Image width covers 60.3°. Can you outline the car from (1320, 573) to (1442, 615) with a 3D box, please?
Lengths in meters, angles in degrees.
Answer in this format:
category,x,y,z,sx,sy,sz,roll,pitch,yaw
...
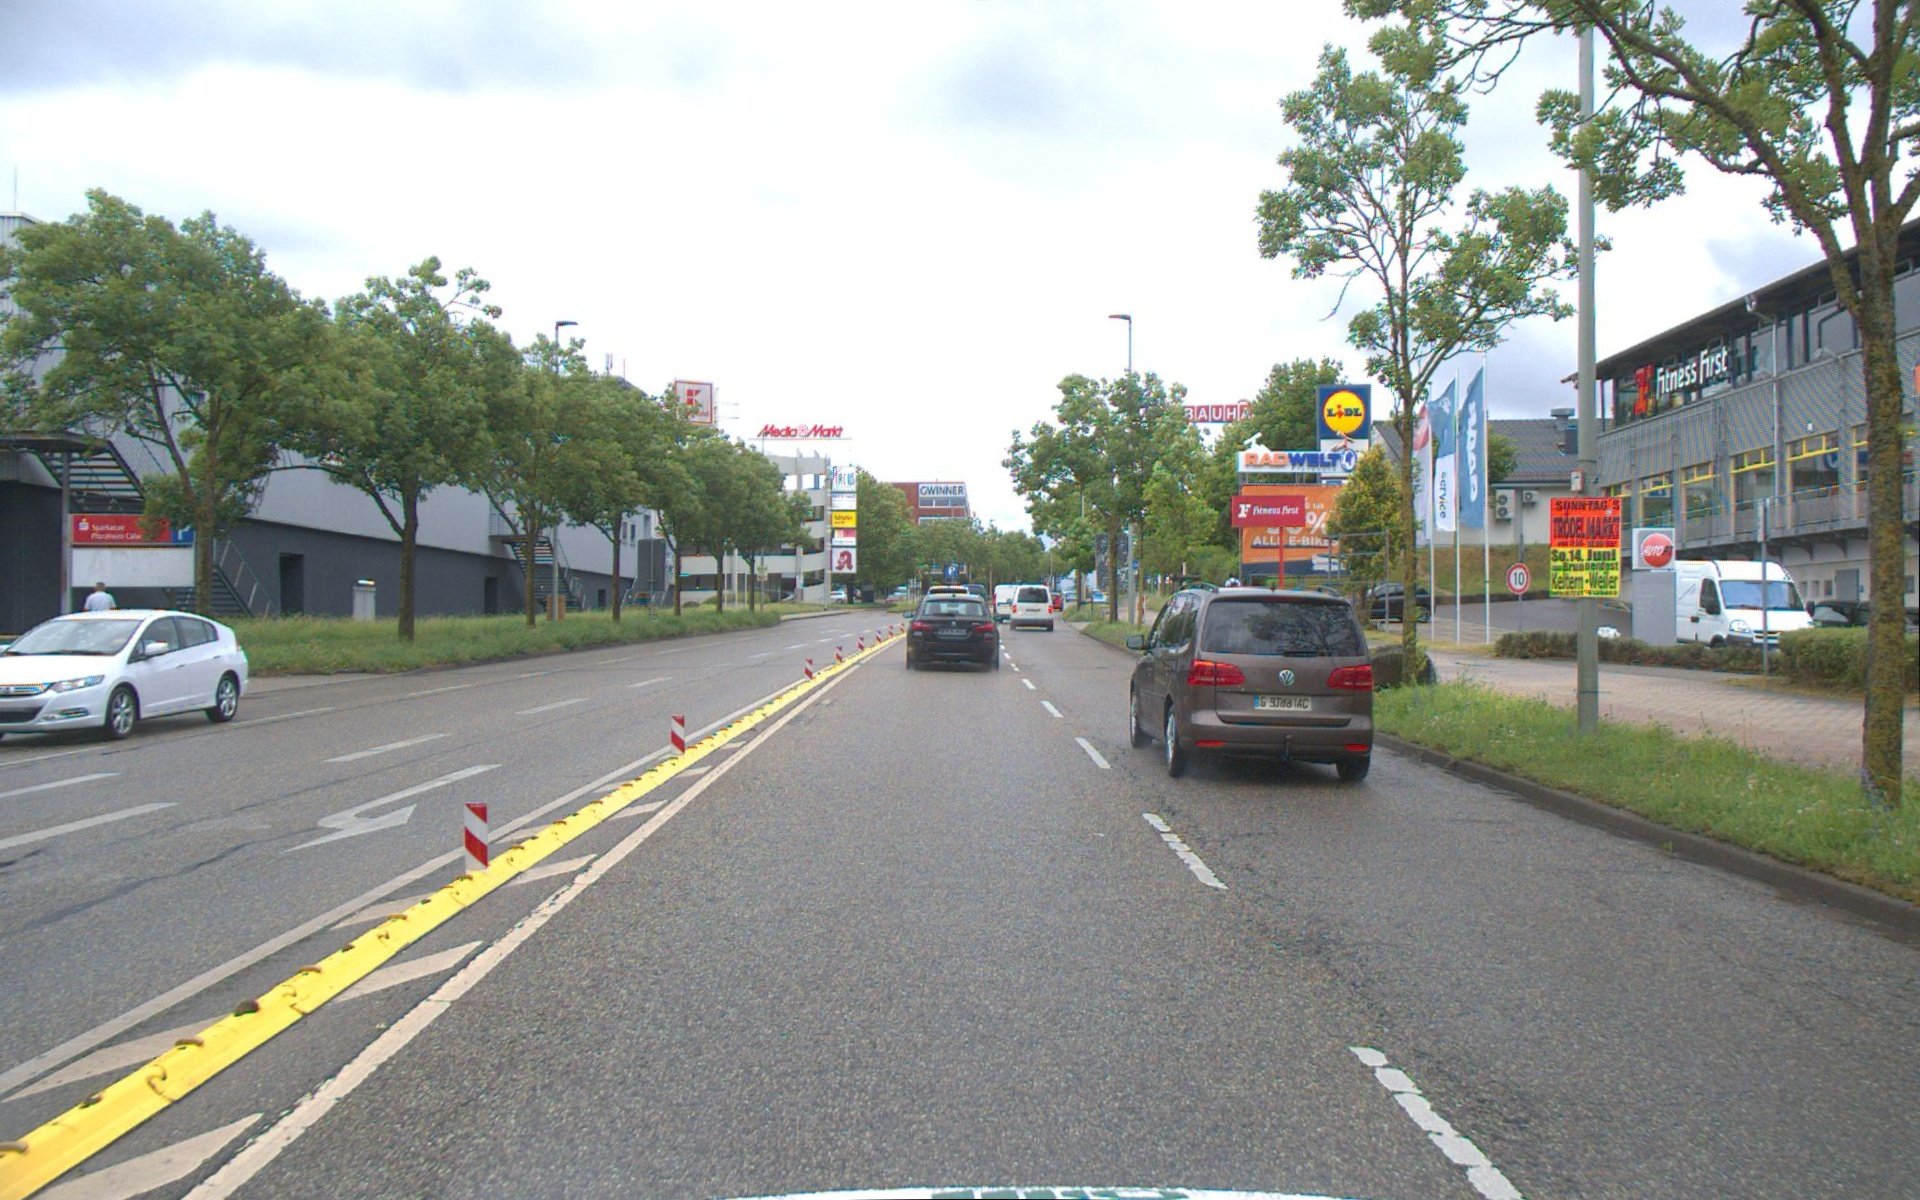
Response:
category,x,y,z,sx,sy,sz,roll,pitch,yaw
car,15.548,-0.243,61.117,4.019,1.463,1.792,-1,2,-13

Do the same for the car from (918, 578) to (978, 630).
category,x,y,z,sx,sy,sz,roll,pitch,yaw
car,-0.337,0.135,52.069,1.757,1.537,4.000,2,0,1

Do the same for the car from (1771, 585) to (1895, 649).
category,x,y,z,sx,sy,sz,roll,pitch,yaw
car,23.708,0.424,44.850,4.227,1.495,1.712,-2,3,-44

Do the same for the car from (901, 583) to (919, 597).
category,x,y,z,sx,sy,sz,roll,pitch,yaw
car,-7.172,-1.438,237.503,2.093,1.804,4.611,1,2,5

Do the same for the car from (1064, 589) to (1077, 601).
category,x,y,z,sx,sy,sz,roll,pitch,yaw
car,15.077,-0.650,225.871,1.757,1.537,4.001,2,0,3

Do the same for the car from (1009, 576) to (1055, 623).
category,x,y,z,sx,sy,sz,roll,pitch,yaw
car,2.887,-0.055,66.999,1.789,1.789,4.001,2,1,2

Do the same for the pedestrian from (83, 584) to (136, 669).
category,x,y,z,sx,sy,sz,roll,pitch,yaw
pedestrian,-16.600,0.509,32.296,0.572,1.611,0.767,2,0,2

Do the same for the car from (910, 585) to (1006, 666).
category,x,y,z,sx,sy,sz,roll,pitch,yaw
car,-0.062,0.471,33.270,1.790,1.494,3.999,2,0,-1

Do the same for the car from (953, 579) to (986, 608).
category,x,y,z,sx,sy,sz,roll,pitch,yaw
car,0.518,-0.338,91.061,1.757,1.537,4.000,2,0,0

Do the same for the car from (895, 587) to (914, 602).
category,x,y,z,sx,sy,sz,roll,pitch,yaw
car,-7.305,-0.715,216.586,1.996,1.792,4.949,1,2,4

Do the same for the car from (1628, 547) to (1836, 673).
category,x,y,z,sx,sy,sz,roll,pitch,yaw
car,17.320,0.157,37.476,2.181,2.581,5.682,1,1,2

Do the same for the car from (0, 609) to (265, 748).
category,x,y,z,sx,sy,sz,roll,pitch,yaw
car,-10.096,0.851,19.648,1.705,1.430,4.469,-2,0,1

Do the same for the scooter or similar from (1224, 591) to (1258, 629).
category,x,y,z,sx,sy,sz,roll,pitch,yaw
scooter or similar,10.089,0.354,59.425,0.683,1.285,1.396,-2,1,-12

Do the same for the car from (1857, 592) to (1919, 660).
category,x,y,z,sx,sy,sz,roll,pitch,yaw
car,24.340,0.625,41.913,1.754,1.495,4.230,2,3,44

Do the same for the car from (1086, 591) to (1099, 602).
category,x,y,z,sx,sy,sz,roll,pitch,yaw
car,18.829,-0.514,235.145,1.757,1.537,4.001,2,0,3

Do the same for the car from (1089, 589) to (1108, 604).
category,x,y,z,sx,sy,sz,roll,pitch,yaw
car,14.474,-0.358,172.822,1.757,1.537,4.001,2,0,3

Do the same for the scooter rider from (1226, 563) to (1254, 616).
category,x,y,z,sx,sy,sz,roll,pitch,yaw
scooter rider,10.054,-0.374,59.444,0.683,1.852,0.855,-2,1,-12

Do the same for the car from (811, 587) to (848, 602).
category,x,y,z,sx,sy,sz,roll,pitch,yaw
car,-16.412,-0.659,207.463,4.505,1.776,1.967,1,2,-2

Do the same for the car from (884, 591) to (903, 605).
category,x,y,z,sx,sy,sz,roll,pitch,yaw
car,-8.106,-0.262,202.166,1.893,1.636,4.713,1,2,2

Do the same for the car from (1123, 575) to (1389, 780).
category,x,y,z,sx,sy,sz,roll,pitch,yaw
car,2.579,0.609,15.347,1.651,1.609,4.218,1,0,-1

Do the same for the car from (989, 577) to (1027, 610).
category,x,y,z,sx,sy,sz,roll,pitch,yaw
car,2.310,-0.290,81.024,1.757,1.537,4.000,2,0,1
